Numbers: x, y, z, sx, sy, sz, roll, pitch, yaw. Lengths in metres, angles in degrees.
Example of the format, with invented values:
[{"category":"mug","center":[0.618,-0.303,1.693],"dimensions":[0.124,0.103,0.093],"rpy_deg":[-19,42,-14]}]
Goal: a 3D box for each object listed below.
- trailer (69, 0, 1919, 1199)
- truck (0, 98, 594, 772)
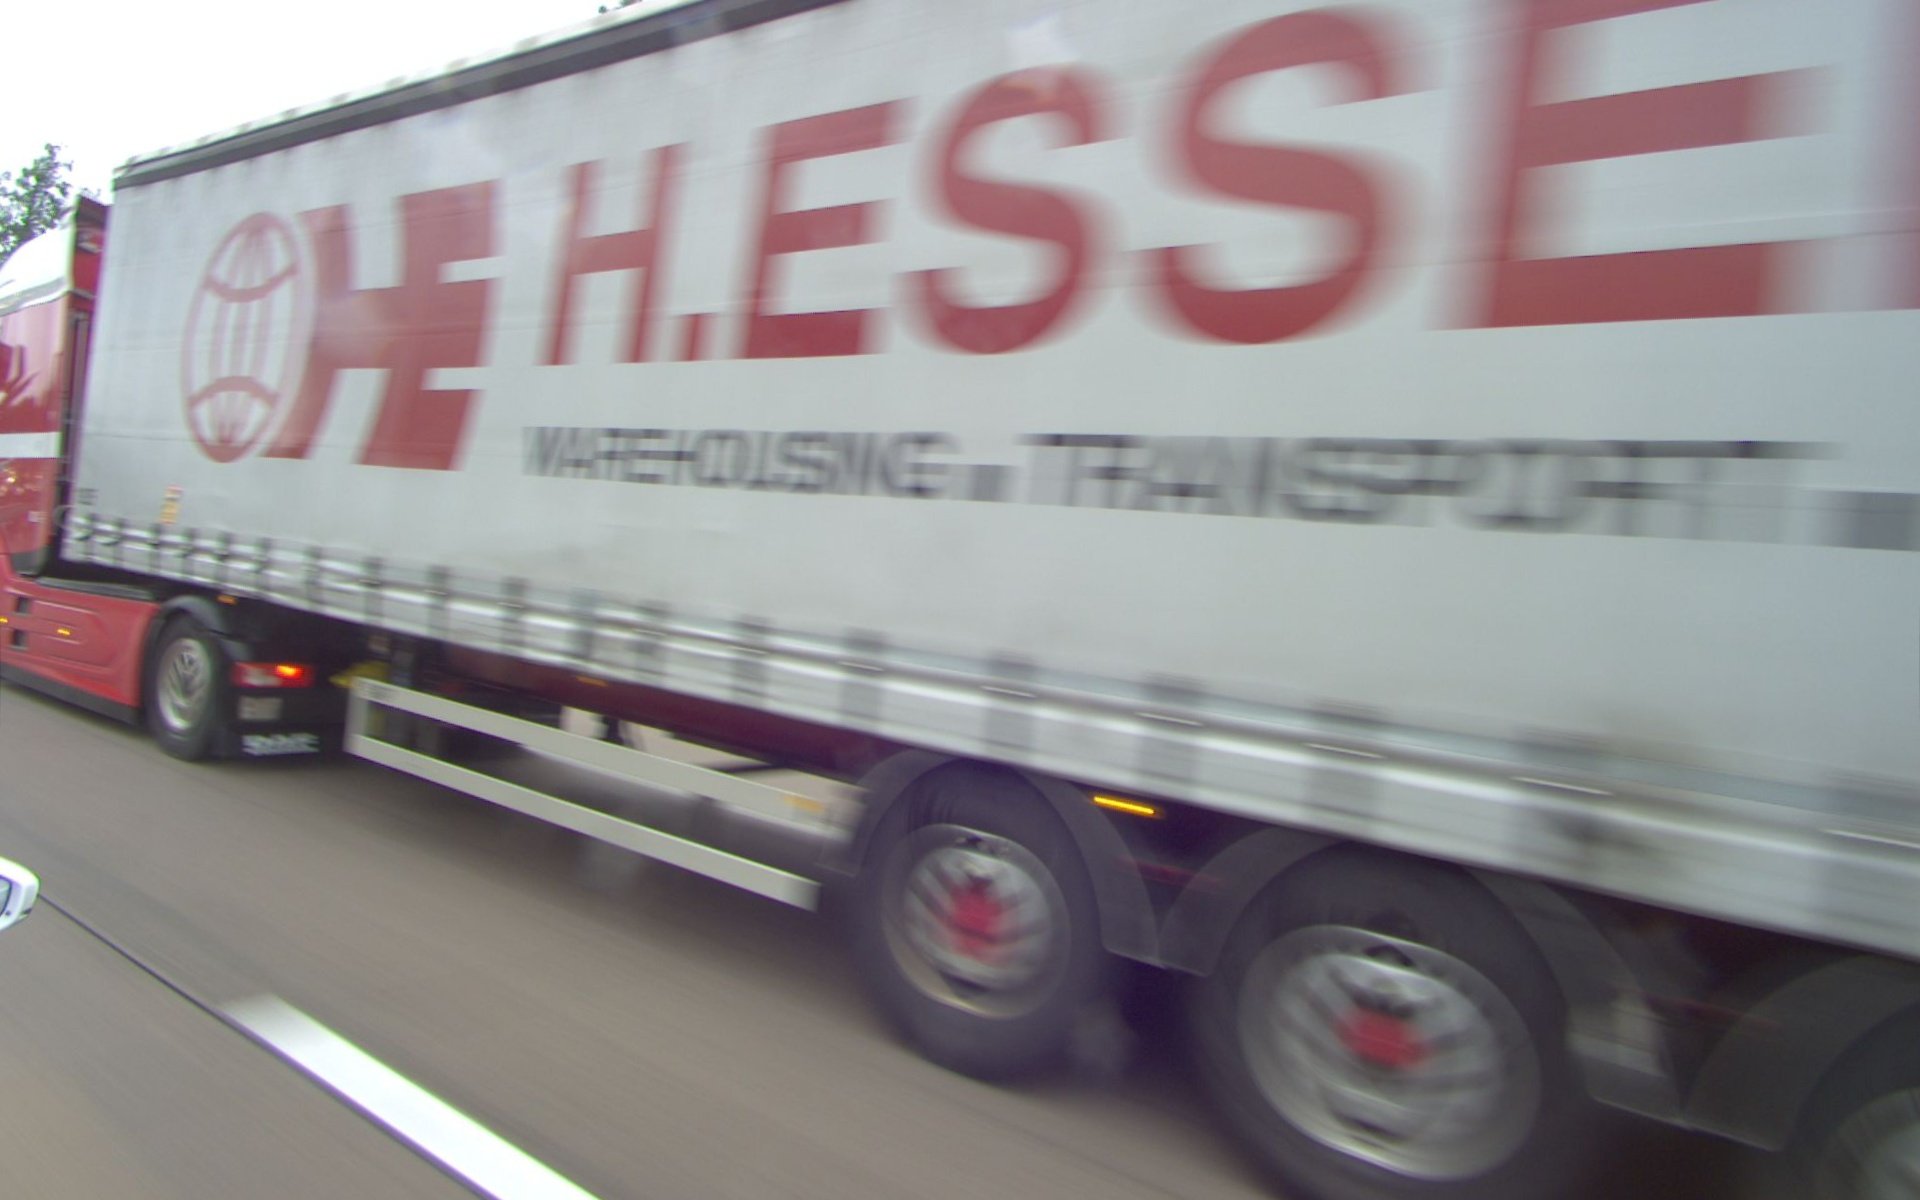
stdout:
[{"category":"trailer","center":[-0.072,-0.441,4.592],"dimensions":[12.314,4.001,2.374],"rpy_deg":[7,0,32]},{"category":"truck","center":[-6.299,-1.165,8.546],"dimensions":[6.058,4.001,2.378],"rpy_deg":[7,-1,32]}]
